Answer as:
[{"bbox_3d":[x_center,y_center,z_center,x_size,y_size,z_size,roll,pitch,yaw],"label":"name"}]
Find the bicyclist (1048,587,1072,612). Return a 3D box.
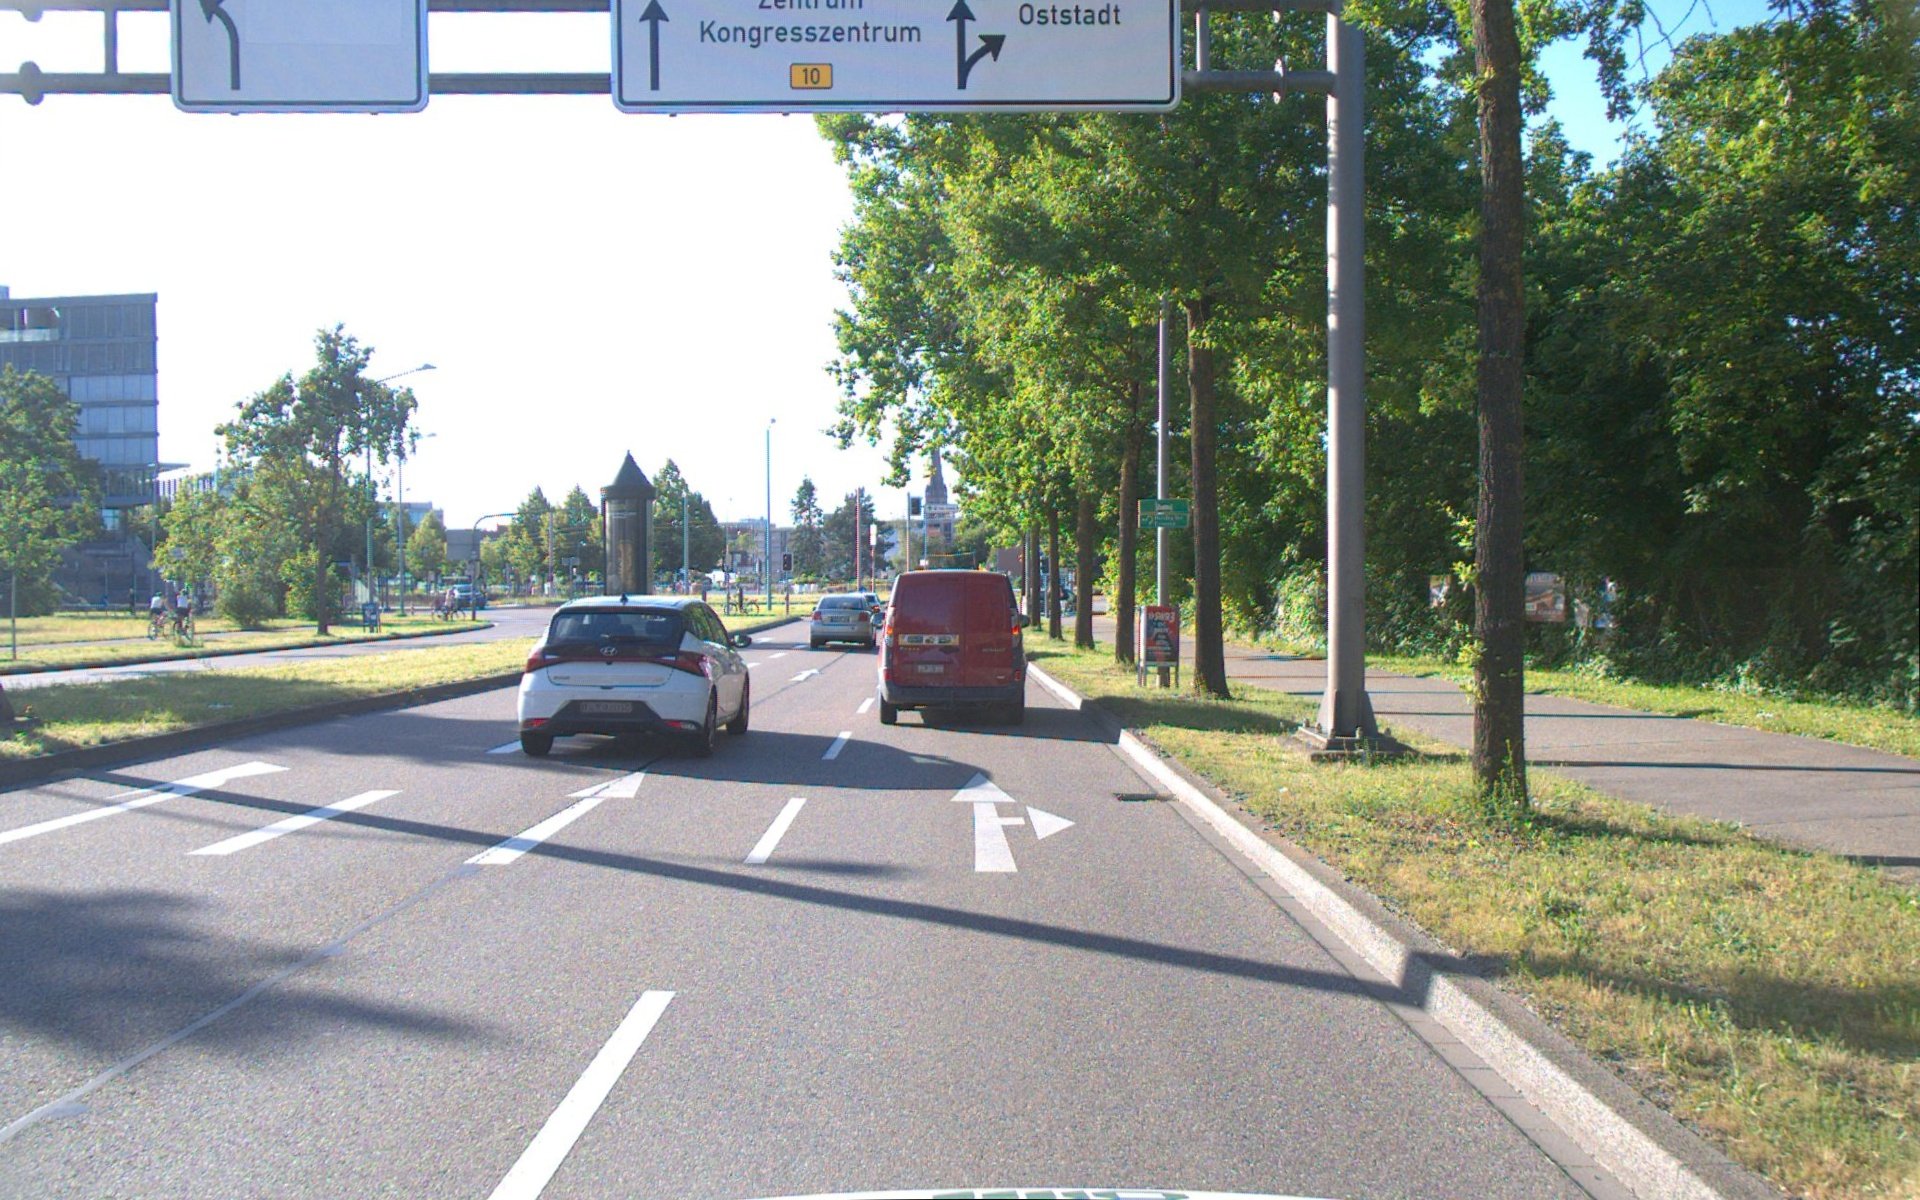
[{"bbox_3d":[5.192,-0.029,86.037,0.959,1.271,0.780,-1,0,-33],"label":"bicyclist"}]

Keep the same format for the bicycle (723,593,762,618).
[{"bbox_3d":[-10.962,0.276,83.331,1.919,1.186,0.517,-1,0,-2],"label":"bicycle"}]

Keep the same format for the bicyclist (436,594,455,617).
[{"bbox_3d":[-25.810,0.293,82.980,0.719,1.126,0.605,-1,0,12],"label":"bicyclist"}]

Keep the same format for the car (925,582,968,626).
[{"bbox_3d":[-0.547,0.162,70.458,1.625,1.792,3.499,-1,0,2],"label":"car"}]

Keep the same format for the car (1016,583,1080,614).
[{"bbox_3d":[4.874,-0.100,91.554,1.741,1.653,3.912,1,0,35],"label":"car"}]

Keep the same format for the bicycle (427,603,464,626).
[{"bbox_3d":[-25.800,0.705,82.984,1.690,1.126,0.605,-1,0,12],"label":"bicycle"}]

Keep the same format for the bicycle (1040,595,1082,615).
[{"bbox_3d":[5.263,0.268,86.068,2.100,0.975,0.780,-1,0,-33],"label":"bicycle"}]

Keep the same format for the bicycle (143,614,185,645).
[{"bbox_3d":[-27.855,1.028,57.897,0.477,1.021,2.095,-1,0,-2],"label":"bicycle"}]

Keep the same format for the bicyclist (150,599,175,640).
[{"bbox_3d":[-27.858,0.676,57.762,0.472,1.419,0.844,-1,0,-2],"label":"bicyclist"}]

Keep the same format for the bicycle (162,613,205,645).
[{"bbox_3d":[-26.917,0.996,57.384,0.558,1.021,2.095,-1,0,-2],"label":"bicycle"}]

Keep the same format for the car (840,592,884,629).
[{"bbox_3d":[-4.035,0.413,68.486,1.627,1.422,3.558,-1,1,-1],"label":"car"}]

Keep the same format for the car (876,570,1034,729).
[{"bbox_3d":[-0.087,0.529,20.739,1.769,1.790,4.005,1,1,-1],"label":"car"}]

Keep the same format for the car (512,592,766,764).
[{"bbox_3d":[-3.029,0.674,16.435,1.742,1.433,4.075,0,1,0],"label":"car"}]

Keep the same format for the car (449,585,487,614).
[{"bbox_3d":[-33.607,-0.053,112.920,1.617,1.909,3.960,-1,0,-30],"label":"car"}]

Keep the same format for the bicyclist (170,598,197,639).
[{"bbox_3d":[-26.921,0.641,57.345,0.551,1.416,0.747,-1,0,-2],"label":"bicyclist"}]

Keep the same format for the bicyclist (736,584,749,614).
[{"bbox_3d":[-10.944,-0.059,83.326,0.591,1.494,0.517,-1,0,-2],"label":"bicyclist"}]

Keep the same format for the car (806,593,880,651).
[{"bbox_3d":[-3.264,0.589,46.752,1.803,1.482,4.162,1,1,0],"label":"car"}]
